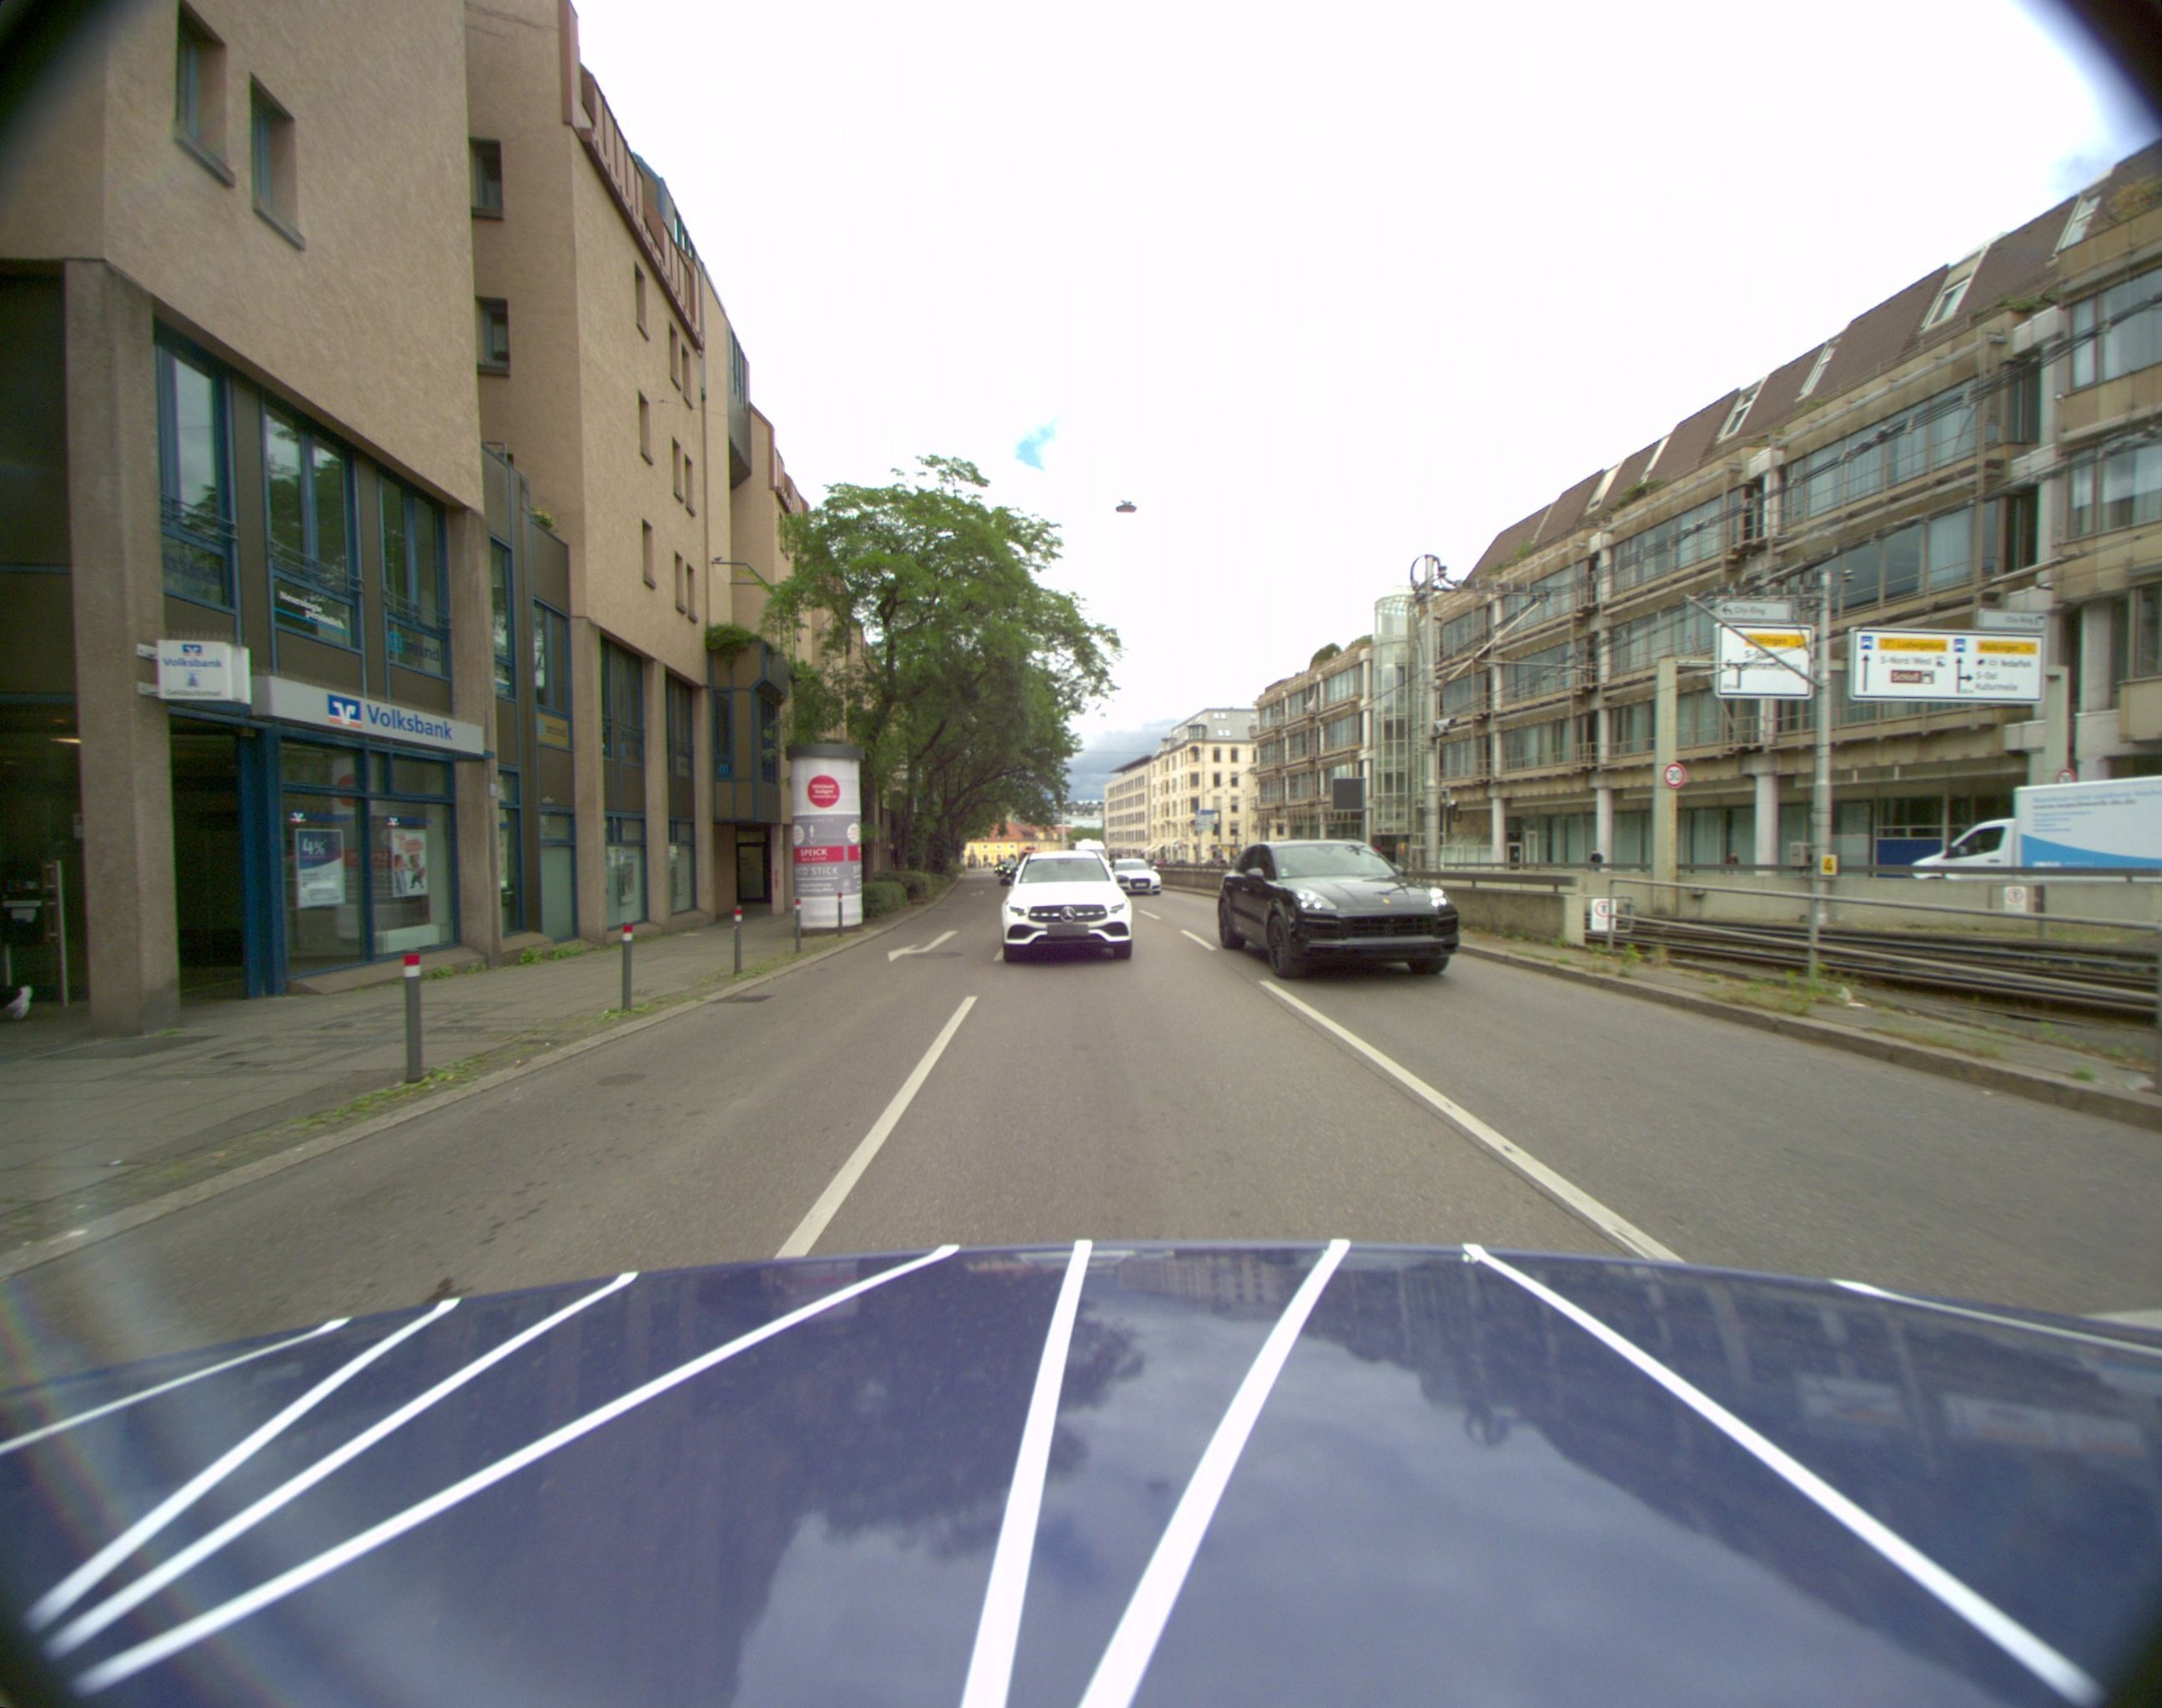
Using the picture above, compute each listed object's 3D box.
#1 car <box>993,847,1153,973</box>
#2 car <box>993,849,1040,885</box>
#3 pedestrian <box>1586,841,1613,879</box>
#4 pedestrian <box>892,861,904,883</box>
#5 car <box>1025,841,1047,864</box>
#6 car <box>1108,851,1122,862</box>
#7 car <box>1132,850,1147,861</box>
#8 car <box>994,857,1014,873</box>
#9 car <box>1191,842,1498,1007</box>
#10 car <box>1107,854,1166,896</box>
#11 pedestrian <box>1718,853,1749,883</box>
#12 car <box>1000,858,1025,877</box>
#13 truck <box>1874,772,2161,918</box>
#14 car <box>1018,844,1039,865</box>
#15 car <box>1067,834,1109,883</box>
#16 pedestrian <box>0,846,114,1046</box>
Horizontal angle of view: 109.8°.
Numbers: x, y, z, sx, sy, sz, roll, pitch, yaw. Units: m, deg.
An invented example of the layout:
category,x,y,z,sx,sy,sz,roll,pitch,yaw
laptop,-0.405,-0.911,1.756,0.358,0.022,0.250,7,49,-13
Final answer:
category,x,y,z,sx,sy,sz,roll,pitch,yaw
car,-0.315,0.743,12.217,2.061,1.599,3.924,-2,0,-7
car,-4.131,0.787,49.838,2.503,2.144,5.727,-2,0,0
pedestrian,25.372,0.298,37.198,0.733,1.801,0.739,-2,1,-6
pedestrian,-14.140,1.372,58.614,0.711,1.701,0.687,-1,0,-1
car,-5.755,-0.165,96.344,2.504,2.793,5.724,-2,0,-6
car,6.614,0.491,148.631,2.000,2.002,4.787,-2,0,-7
car,10.895,0.296,141.105,2.000,2.002,3.997,-1,0,-7
car,-8.259,1.169,81.799,1.950,1.521,3.999,-2,0,-3
car,3.149,0.681,10.574,2.089,1.665,5.348,-1,1,-4
car,2.219,0.806,31.456,1.950,1.521,3.999,-2,0,-2
pedestrian,29.050,0.620,33.822,0.733,1.258,0.739,-2,1,-6
car,-6.113,1.159,68.181,1.950,1.521,3.999,-2,0,-3
truck,23.695,-0.182,17.710,2.273,3.058,7.370,1,0,-5
car,-7.201,0.064,103.800,2.504,2.793,5.724,-2,0,-6
car,0.387,0.239,45.800,2.295,2.723,4.753,-2,0,0
pedestrian,-9.679,0.798,6.875,0.772,1.711,0.794,-1,0,-4
